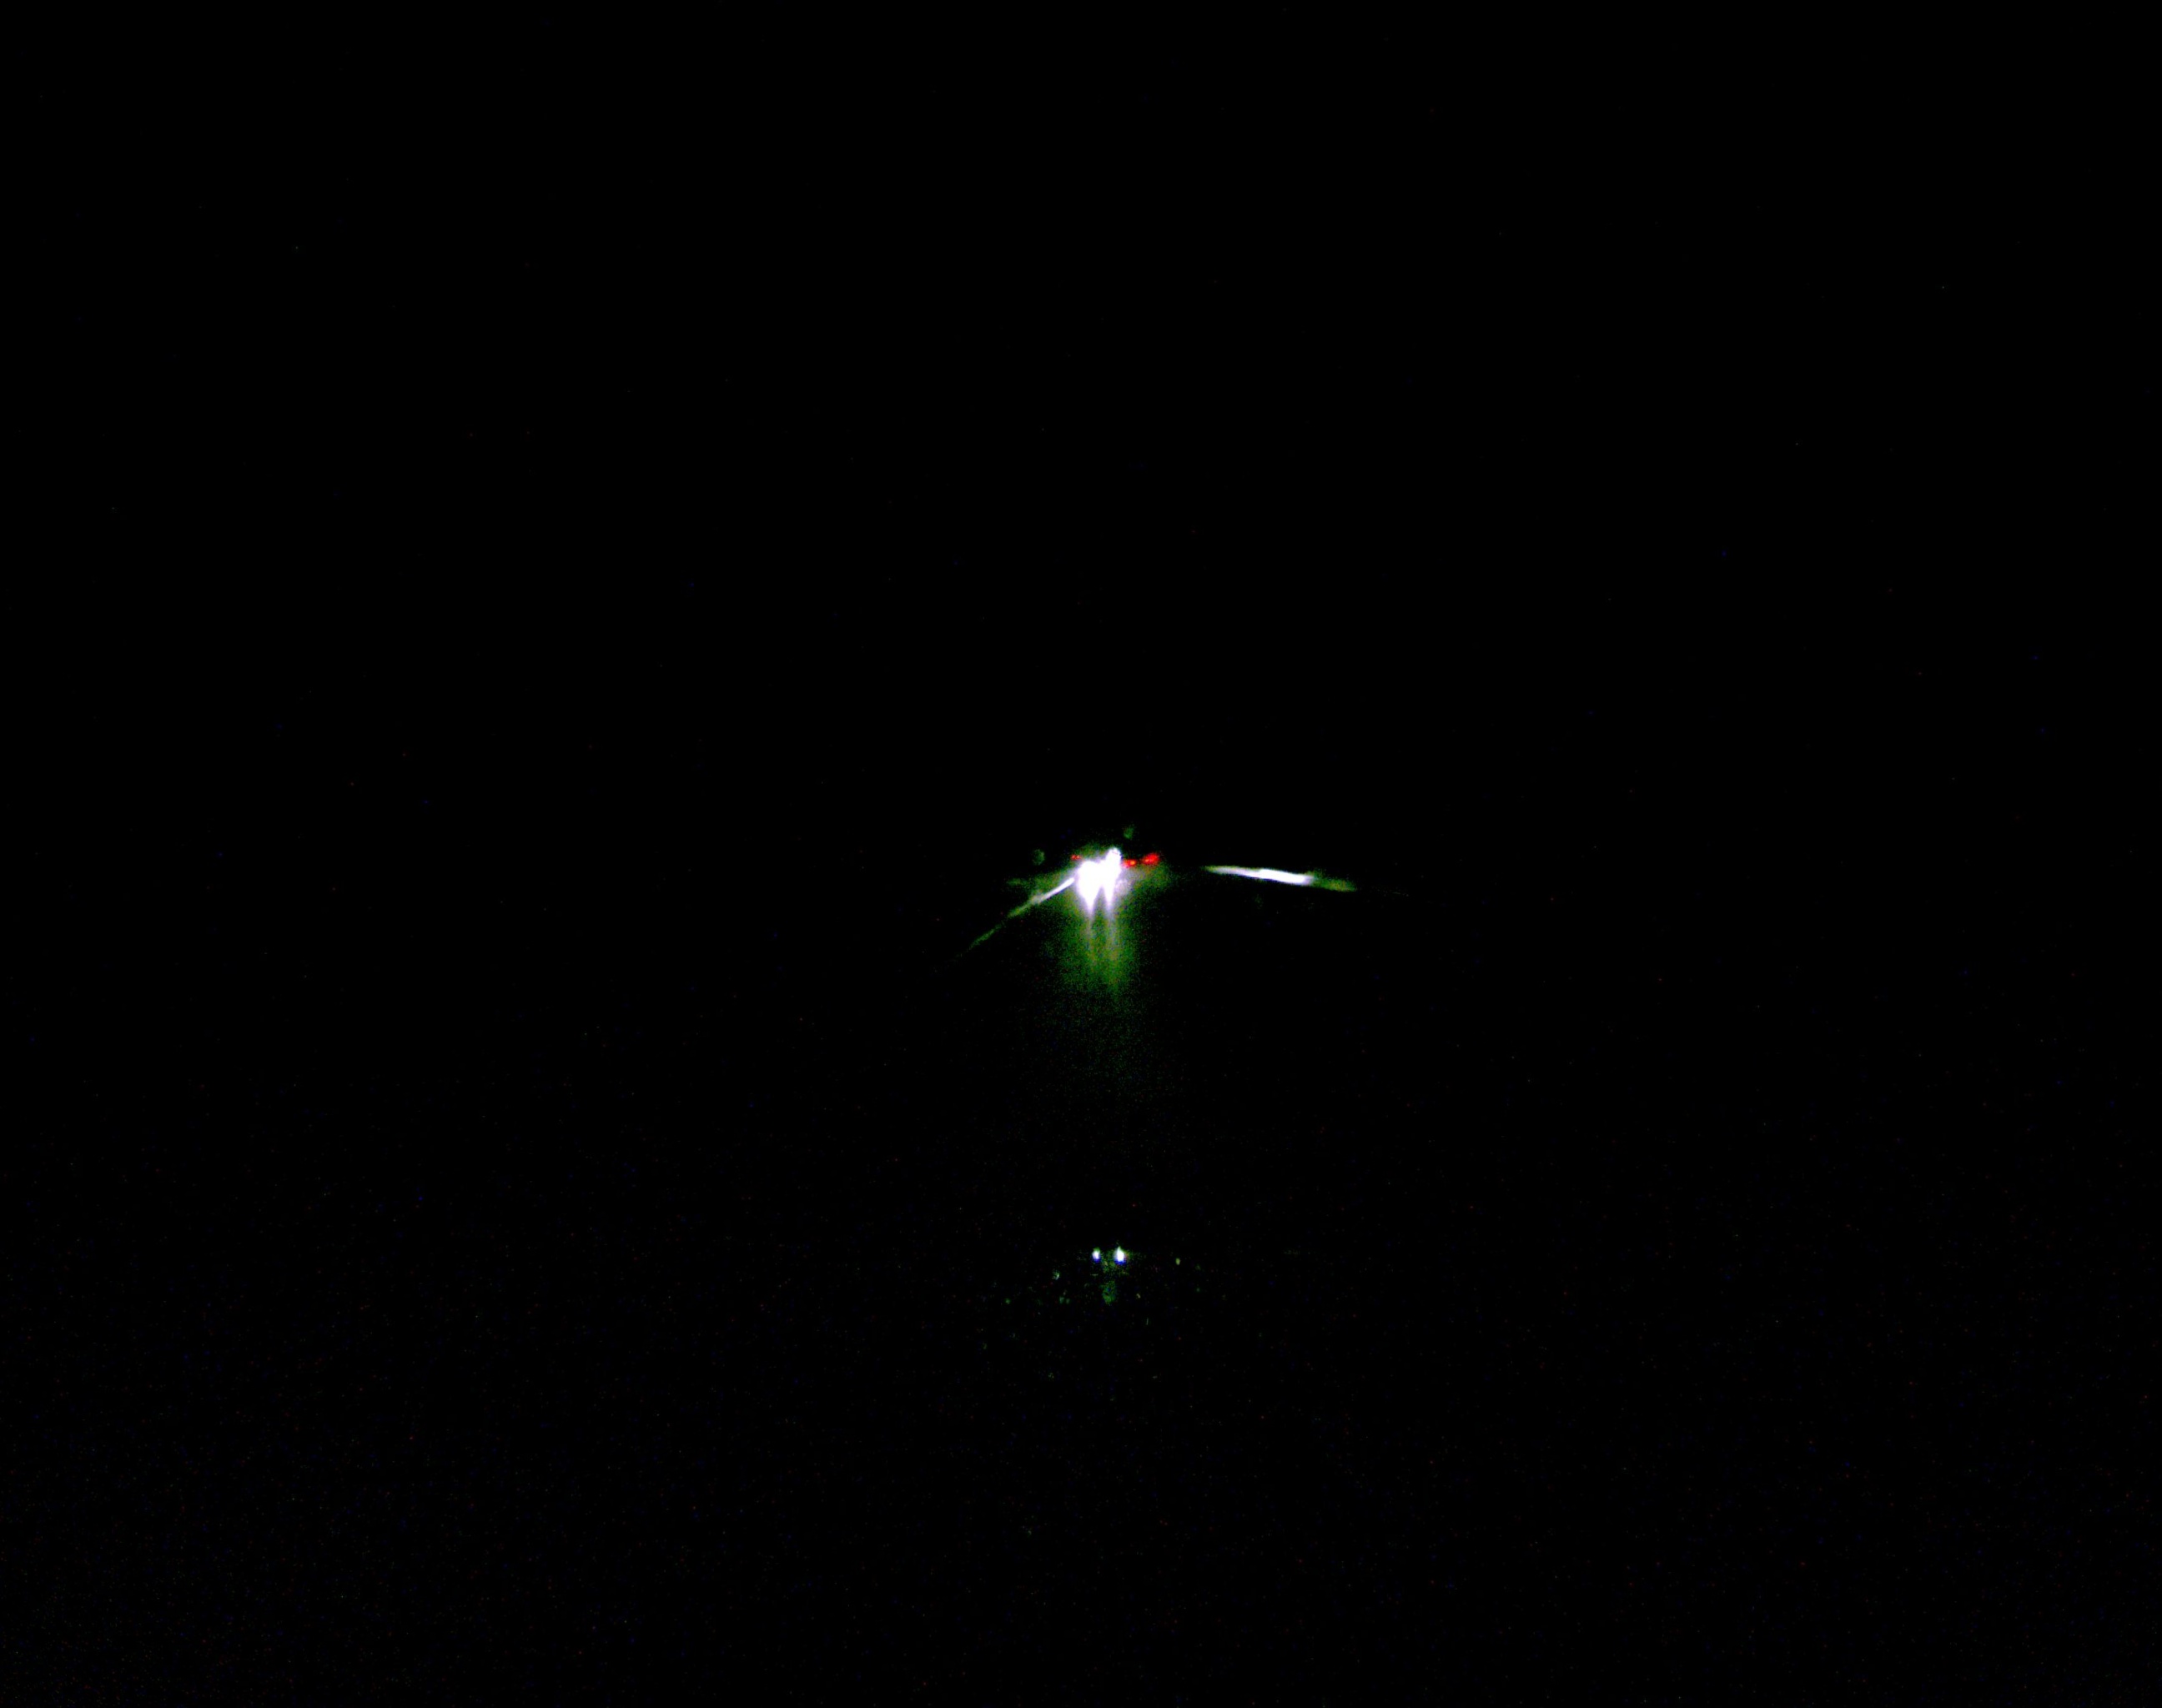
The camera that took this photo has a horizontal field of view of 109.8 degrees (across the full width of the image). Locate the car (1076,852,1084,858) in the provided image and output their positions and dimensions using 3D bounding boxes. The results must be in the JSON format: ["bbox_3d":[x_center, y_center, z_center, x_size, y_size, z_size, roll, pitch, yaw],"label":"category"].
[{"bbox_3d":[-0.261,0.318,190.865,1.999,1.382,3.845,-4,0,-1],"label":"car"}]

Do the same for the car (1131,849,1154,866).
[{"bbox_3d":[5.812,0.282,72.016,1.922,1.455,4.259,-2,1,2],"label":"car"}]

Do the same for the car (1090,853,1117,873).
[{"bbox_3d":[1.724,0.700,59.442,1.776,1.444,4.135,-2,0,-2],"label":"car"}]
